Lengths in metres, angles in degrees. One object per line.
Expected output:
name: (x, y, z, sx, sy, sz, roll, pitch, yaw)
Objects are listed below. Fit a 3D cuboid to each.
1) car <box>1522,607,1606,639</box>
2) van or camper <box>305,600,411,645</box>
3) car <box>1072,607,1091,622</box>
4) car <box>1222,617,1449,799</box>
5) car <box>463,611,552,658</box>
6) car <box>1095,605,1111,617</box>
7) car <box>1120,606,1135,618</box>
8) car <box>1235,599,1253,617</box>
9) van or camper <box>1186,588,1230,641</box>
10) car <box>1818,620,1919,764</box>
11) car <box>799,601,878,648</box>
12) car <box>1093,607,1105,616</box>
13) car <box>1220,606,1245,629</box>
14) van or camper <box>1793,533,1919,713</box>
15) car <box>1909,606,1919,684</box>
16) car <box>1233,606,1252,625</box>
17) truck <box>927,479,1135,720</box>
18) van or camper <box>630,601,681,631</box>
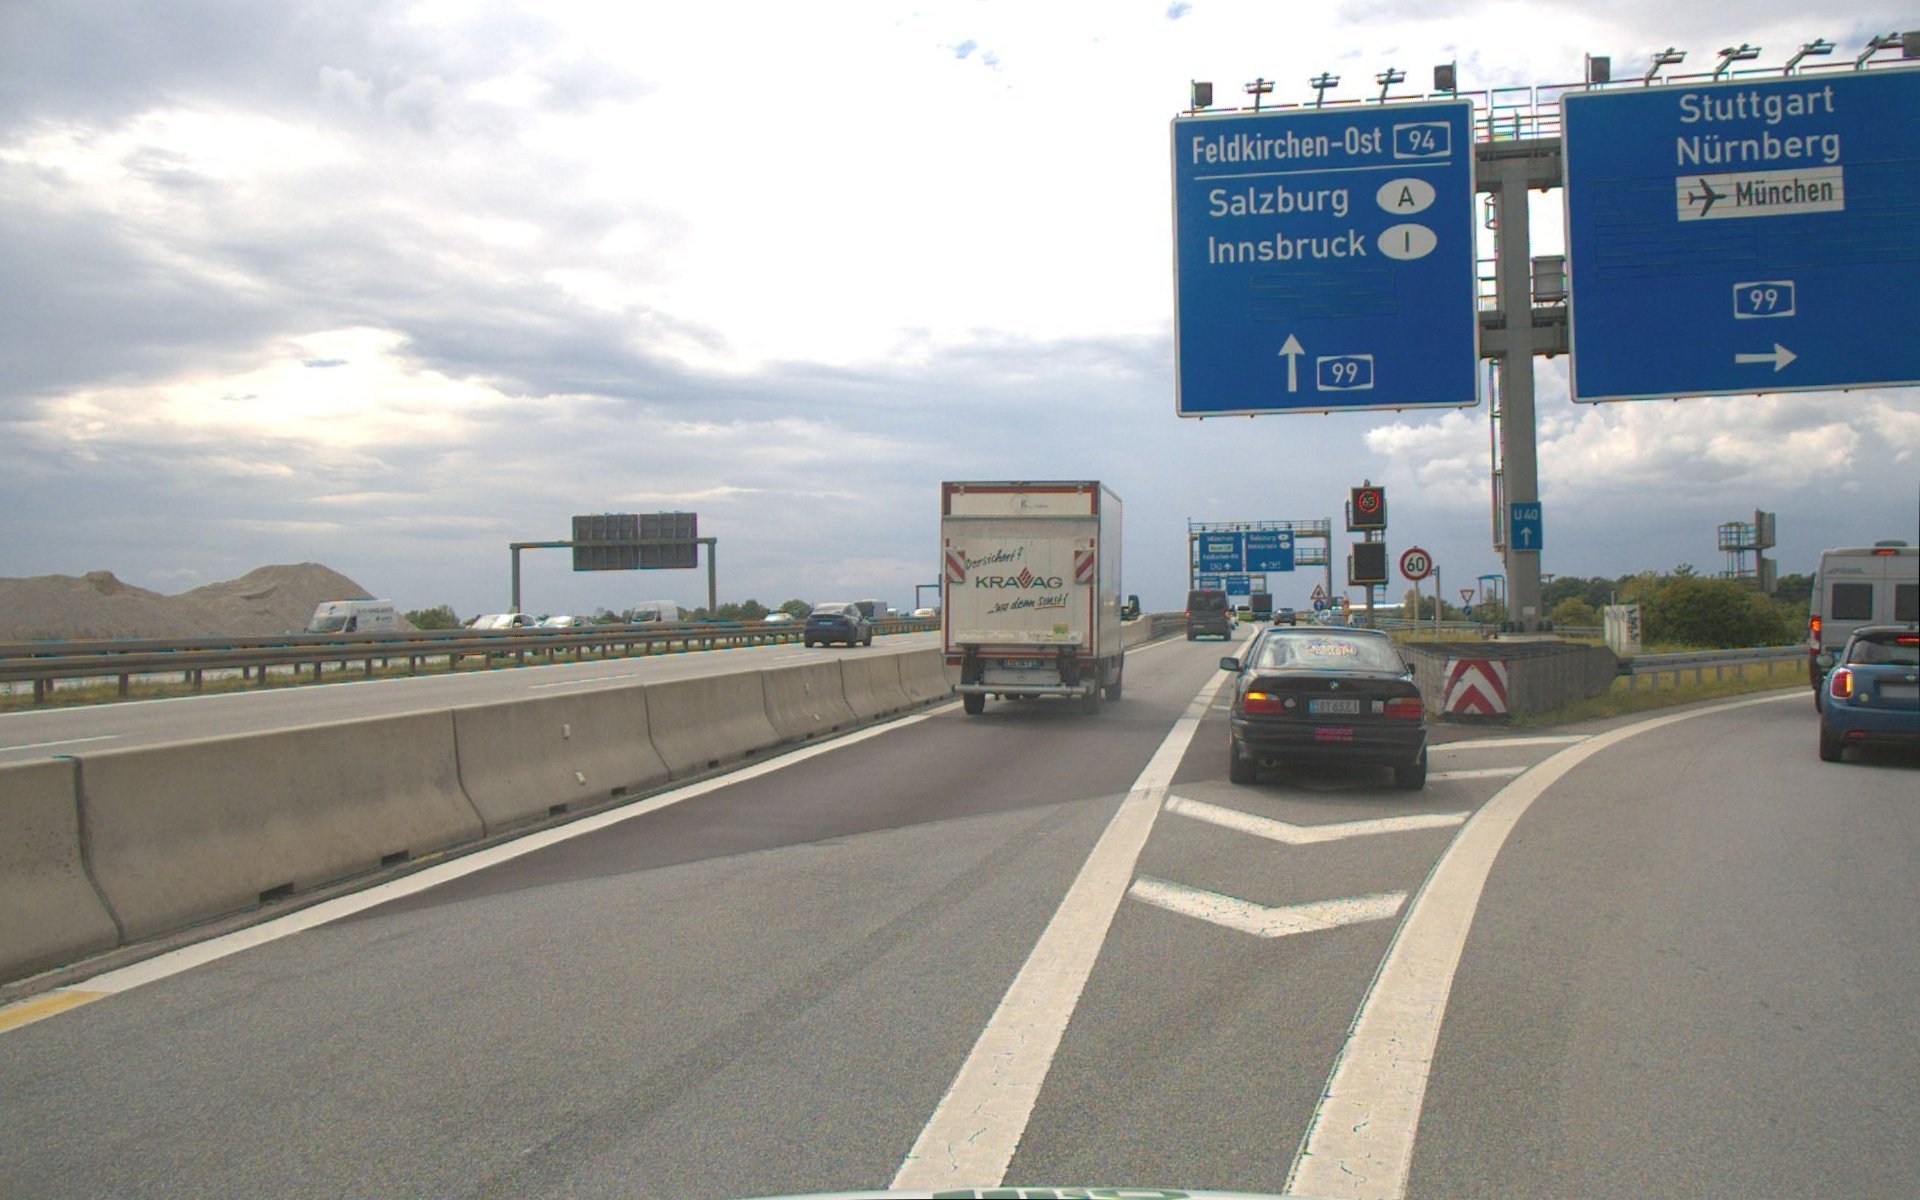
car: (34.583, 1.278, 94.776, 1.975, 1.803, 4.199, 0, 0, -32)
van or camper: (-28.615, 1.061, 78.900, 2.188, 2.049, 6.282, 0, 0, 6)
car: (14.475, 1.725, 196.929, 1.860, 1.669, 4.649, 0, 0, 9)
car: (3.324, 0.871, 15.150, 1.744, 1.402, 4.140, -1, 0, 10)
car: (-14.831, 1.101, 54.398, 1.854, 1.448, 3.999, 0, 0, -1)
car: (19.666, 1.539, 227.526, 1.860, 1.667, 4.237, 0, 0, 9)
car: (22.020, 1.514, 217.685, 1.736, 1.557, 4.003, -1, 0, 9)
car: (32.296, 0.905, 188.275, 1.951, 2.049, 4.003, 0, 0, 8)
van or camper: (11.795, 0.670, 78.458, 1.957, 2.412, 6.131, 0, 0, 9)
car: (10.546, 0.958, 18.328, 1.697, 1.444, 3.658, 0, -1, 30)
car: (-4.544, 0.908, 62.290, 1.951, 1.691, 4.387, 0, 0, 10)
car: (21.924, 1.825, 260.518, 1.519, 1.400, 4.003, 0, 0, 9)
car: (18.808, 1.173, 114.245, 1.665, 1.534, 3.843, 0, 0, 9)
van or camper: (15.304, 0.340, 26.778, 2.255, 2.613, 6.136, -1, 0, 36)
car: (21.109, 0.872, 33.503, 2.176, 1.527, 4.754, -1, -1, 44)
car: (23.826, 1.290, 139.292, 1.551, 1.510, 3.538, -1, 0, 10)
truck: (1.256, 0.003, 24.972, 2.352, 3.144, 6.375, 0, 0, 10)
van or camper: (-22.900, 1.159, 124.505, 2.140, 2.210, 5.814, 0, 0, 7)
